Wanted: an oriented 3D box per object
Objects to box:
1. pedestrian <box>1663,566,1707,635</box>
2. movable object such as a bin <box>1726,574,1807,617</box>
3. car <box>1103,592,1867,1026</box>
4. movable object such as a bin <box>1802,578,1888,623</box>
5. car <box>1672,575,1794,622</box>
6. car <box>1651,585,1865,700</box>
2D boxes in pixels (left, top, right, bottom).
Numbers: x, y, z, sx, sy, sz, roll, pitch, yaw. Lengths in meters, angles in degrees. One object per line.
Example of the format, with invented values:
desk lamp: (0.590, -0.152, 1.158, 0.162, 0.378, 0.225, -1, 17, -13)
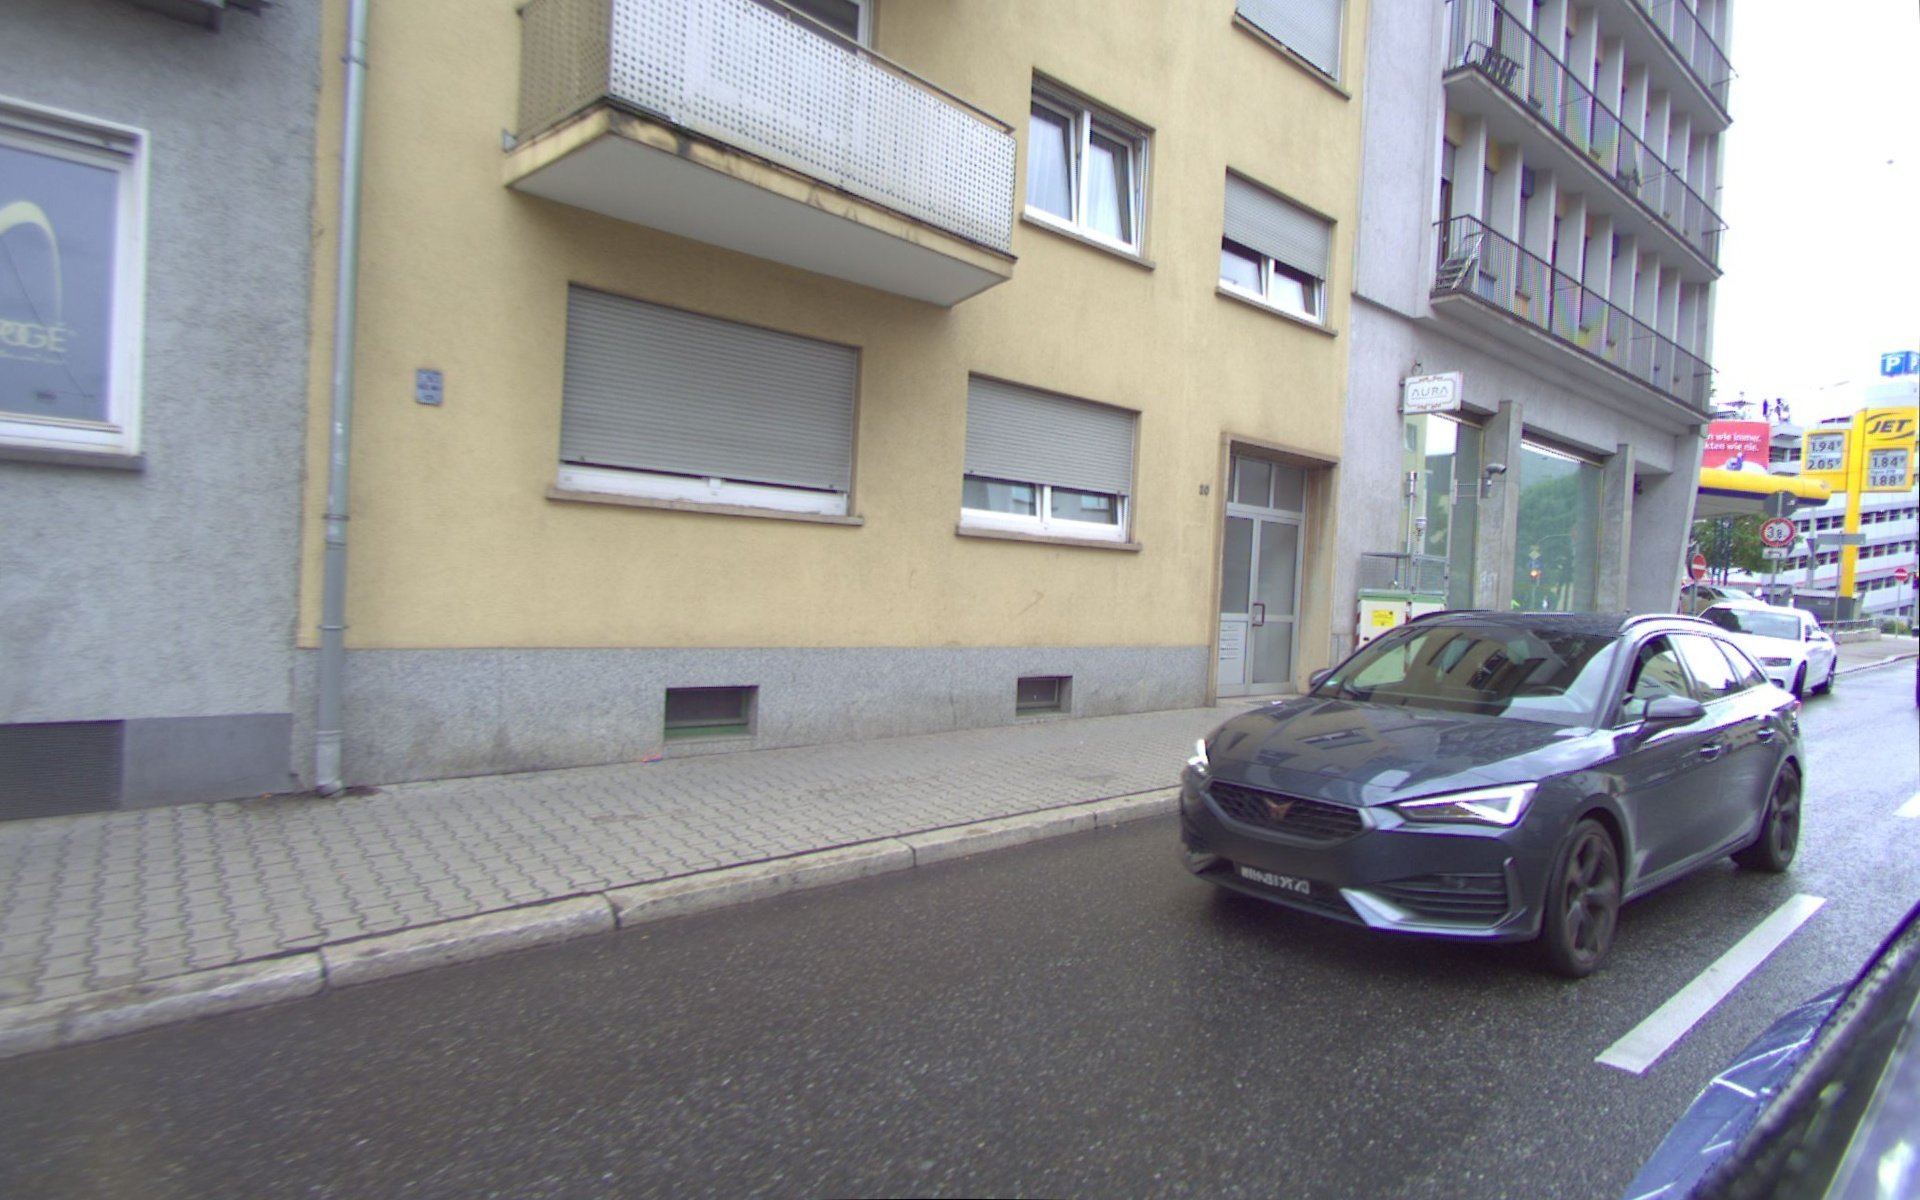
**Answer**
pedestrian: (19.616, -0.005, 27.402, 0.648, 1.792, 0.529, 4, 4, 8)
movable object such as a bin: (32.845, -0.204, 41.240, 1.741, 1.574, 2.162, 1, 4, -39)
car: (3.013, 0.714, 5.370, 4.495, 1.405, 1.740, 1, 1, -36)
movable object such as a bin: (34.485, 0.008, 39.446, 1.741, 1.593, 2.162, 1, 3, -39)
car: (29.683, -0.115, 39.043, 1.715, 1.459, 3.998, 3, 4, 4)
car: (13.197, 0.621, 16.631, 4.529, 1.418, 1.898, 1, 7, -42)
